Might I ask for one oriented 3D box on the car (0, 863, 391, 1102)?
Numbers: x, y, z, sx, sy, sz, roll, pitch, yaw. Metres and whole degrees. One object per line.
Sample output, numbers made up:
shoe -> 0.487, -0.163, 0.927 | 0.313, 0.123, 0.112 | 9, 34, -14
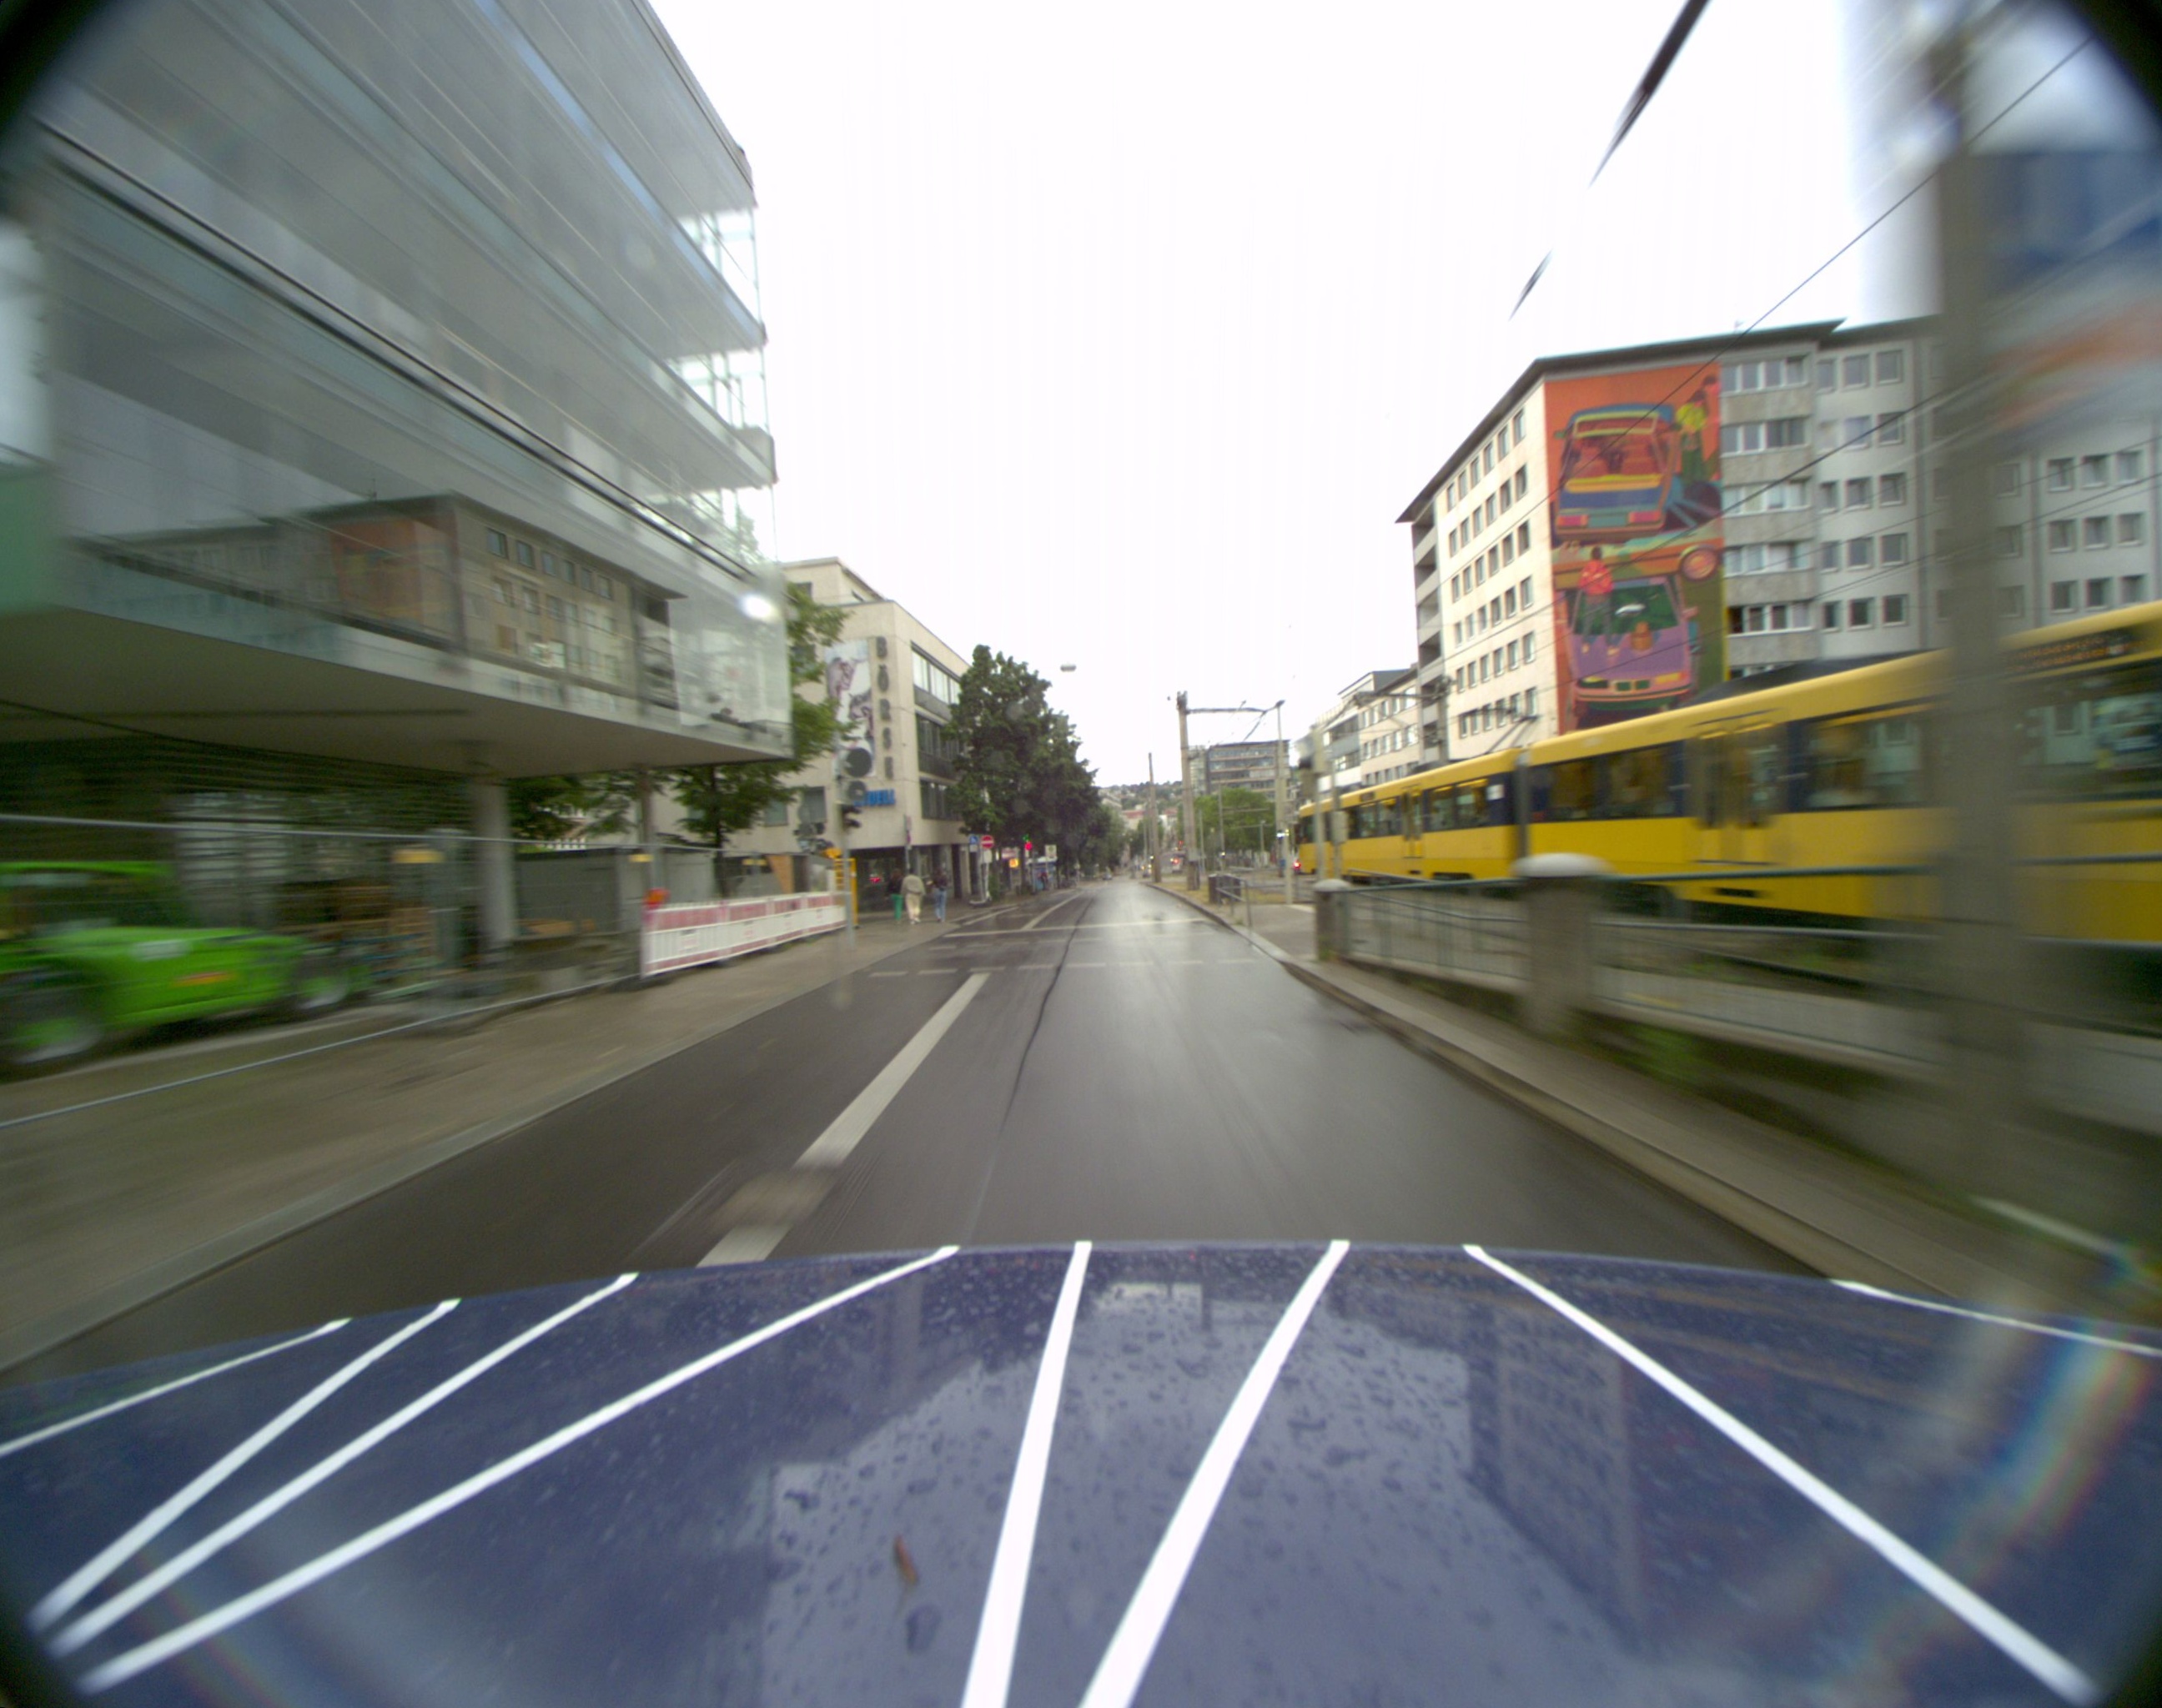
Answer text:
car -> -10.062, 1.132, 7.882 | 2.015, 1.971, 4.200 | -3, 0, -3

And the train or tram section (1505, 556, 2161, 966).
train or tram section -> 10.543, -0.876, 11.642 | 2.785, 3.670, 9.511 | -4, -1, 2

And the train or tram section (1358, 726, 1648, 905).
train or tram section -> 10.841, -0.788, 21.156 | 2.785, 3.670, 9.511 | -4, -1, 2

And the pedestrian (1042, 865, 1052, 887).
pedestrian -> -2.569, 1.654, 57.466 | 0.560, 1.614, 0.485 | -4, -1, 4

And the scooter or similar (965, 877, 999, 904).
scooter or similar -> -4.625, 1.700, 35.527 | 1.385, 1.172, 0.511 | -4, 0, -28

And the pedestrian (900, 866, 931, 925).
pedestrian -> -5.118, 1.263, 23.565 | 0.720, 1.751, 0.958 | -3, 0, -5

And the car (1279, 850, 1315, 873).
car -> 17.348, 0.642, 61.098 | 1.824, 1.623, 3.869 | -4, -2, 2

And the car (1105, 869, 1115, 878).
car -> 5.254, 3.575, 137.547 | 1.620, 1.455, 3.590 | -4, -2, 3

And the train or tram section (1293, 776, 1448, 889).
train or tram section -> 11.115, -0.700, 30.414 | 2.785, 3.670, 8.977 | -4, 0, 2

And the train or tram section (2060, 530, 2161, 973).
train or tram section -> 10.252, -0.967, 2.002 | 2.785, 3.670, 9.716 | -4, -1, 2

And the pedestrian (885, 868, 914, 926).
pedestrian -> -5.768, 1.350, 24.183 | 0.599, 1.751, 0.845 | -3, 0, 1

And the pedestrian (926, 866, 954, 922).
pedestrian -> -4.564, 1.284, 24.620 | 0.720, 1.751, 0.958 | -3, 0, -5
